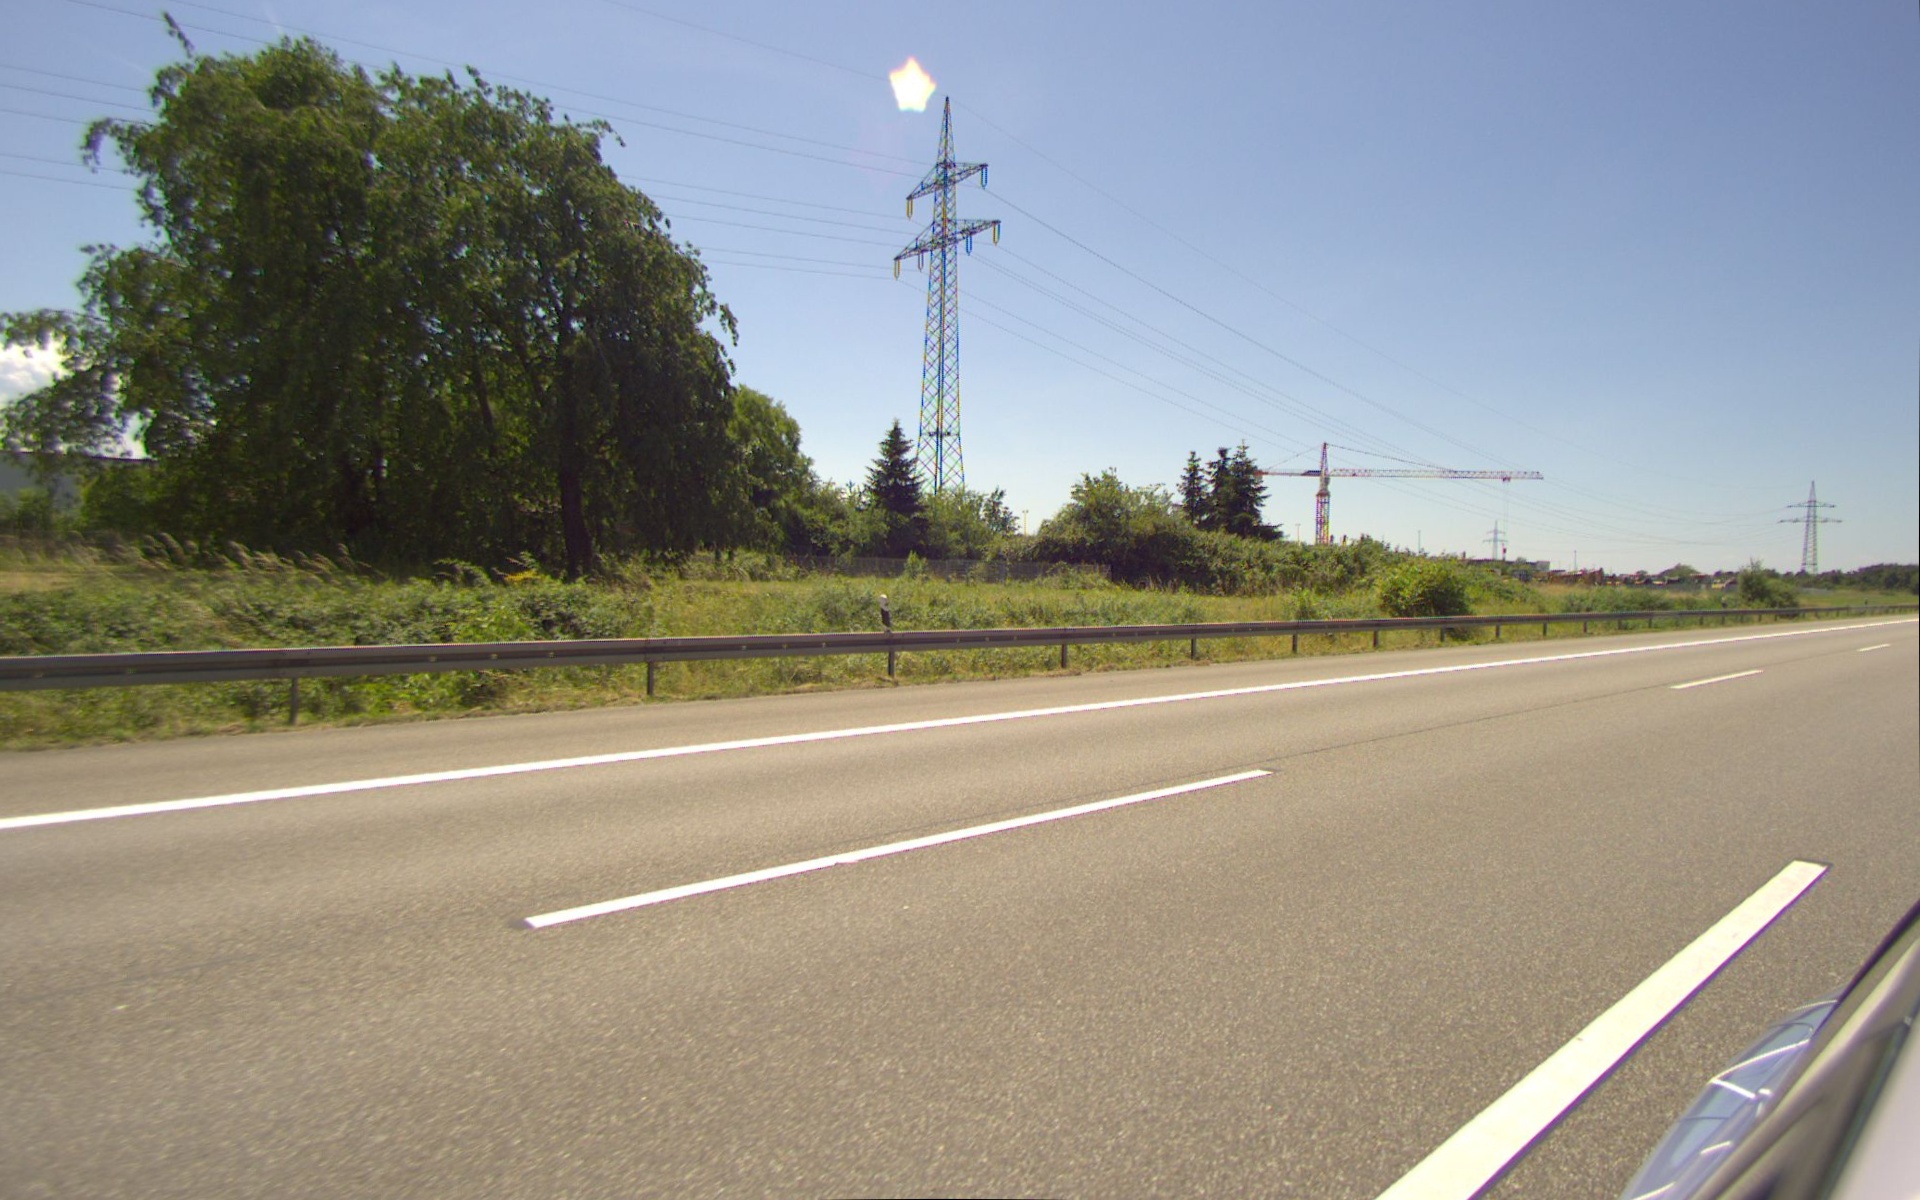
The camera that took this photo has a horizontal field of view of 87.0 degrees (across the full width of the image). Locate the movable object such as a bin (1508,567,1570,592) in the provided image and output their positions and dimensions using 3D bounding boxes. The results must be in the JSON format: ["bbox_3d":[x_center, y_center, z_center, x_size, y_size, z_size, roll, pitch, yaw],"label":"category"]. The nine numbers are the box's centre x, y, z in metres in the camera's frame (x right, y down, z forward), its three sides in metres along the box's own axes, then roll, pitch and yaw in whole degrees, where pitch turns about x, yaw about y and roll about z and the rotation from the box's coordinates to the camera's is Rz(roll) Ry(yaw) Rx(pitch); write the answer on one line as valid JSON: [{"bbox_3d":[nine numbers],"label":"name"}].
[{"bbox_3d":[86.374,-3.040,151.113,2.829,3.507,7.582,0,0,-39],"label":"movable object such as a bin"}]

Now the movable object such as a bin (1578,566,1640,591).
[{"bbox_3d":[107.053,-3.490,167.052,3.081,4.001,8.111,0,0,-39],"label":"movable object such as a bin"}]

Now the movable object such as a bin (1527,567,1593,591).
[{"bbox_3d":[90.307,-3.072,152.555,2.829,3.507,8.111,0,0,-39],"label":"movable object such as a bin"}]

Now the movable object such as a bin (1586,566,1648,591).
[{"bbox_3d":[110.029,-3.523,169.564,3.081,4.001,8.111,0,0,-39],"label":"movable object such as a bin"}]

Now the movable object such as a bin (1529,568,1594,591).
[{"bbox_3d":[92.319,-3.100,155.337,2.829,3.507,8.111,0,0,-39],"label":"movable object such as a bin"}]

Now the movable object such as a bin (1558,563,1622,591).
[{"bbox_3d":[100.852,-3.616,162.015,3.291,4.351,8.111,0,0,-39],"label":"movable object such as a bin"}]

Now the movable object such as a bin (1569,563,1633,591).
[{"bbox_3d":[104.108,-3.650,164.441,3.240,4.351,8.111,0,0,-39],"label":"movable object such as a bin"}]

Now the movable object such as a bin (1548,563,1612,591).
[{"bbox_3d":[97.362,-3.578,159.137,2.829,4.351,8.111,0,0,-39],"label":"movable object such as a bin"}]
